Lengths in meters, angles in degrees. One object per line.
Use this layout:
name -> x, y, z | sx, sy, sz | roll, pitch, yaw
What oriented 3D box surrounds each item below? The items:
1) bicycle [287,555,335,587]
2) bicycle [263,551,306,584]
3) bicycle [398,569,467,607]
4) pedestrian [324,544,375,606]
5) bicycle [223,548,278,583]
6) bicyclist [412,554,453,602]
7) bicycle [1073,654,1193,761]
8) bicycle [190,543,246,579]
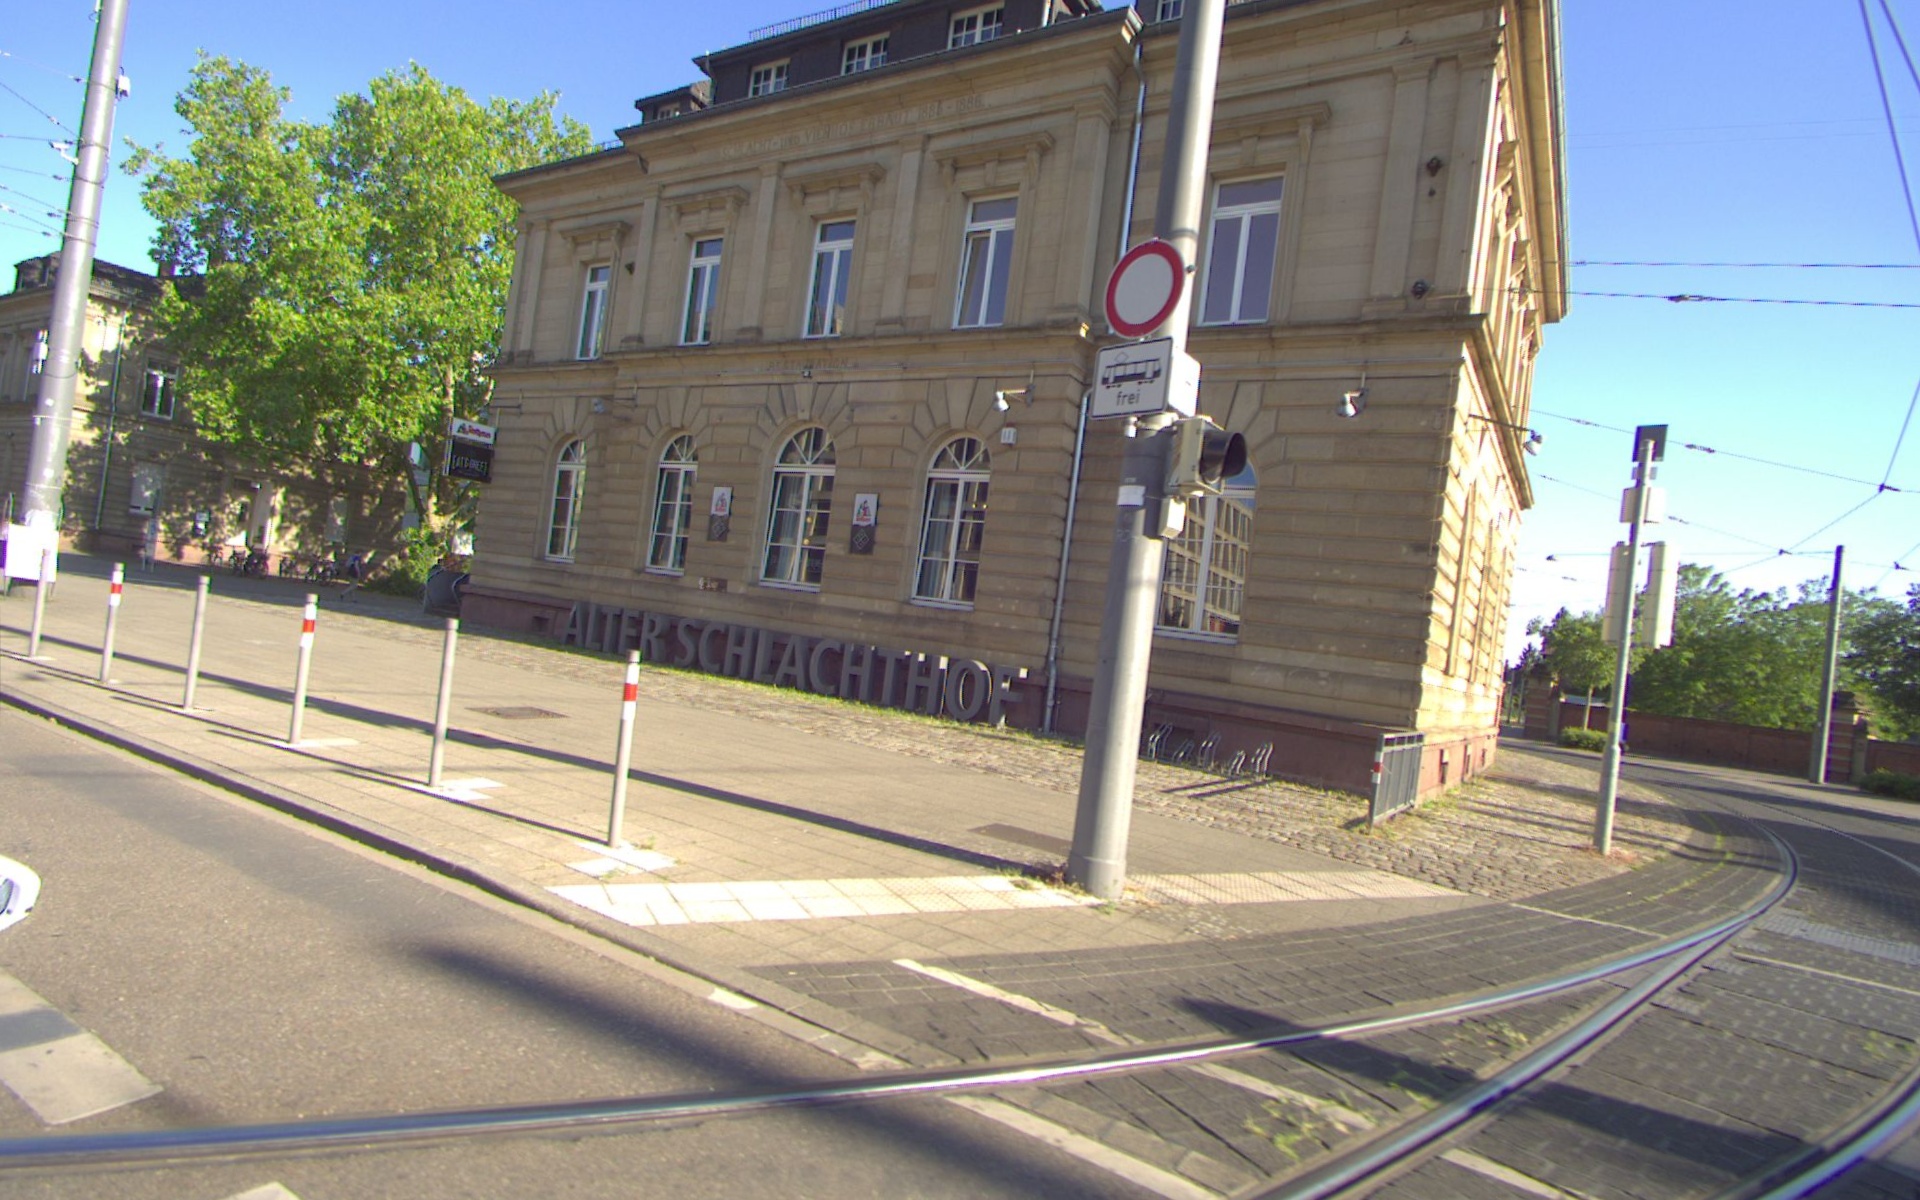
bicycle -> -26.174, -1.162, 40.559 | 2.192, 1.059, 0.527 | 6, -1, 29
bicycle -> -26.558, -1.280, 39.550 | 2.195, 1.059, 0.526 | 6, -1, 34
bicycle -> -20.911, -0.458, 39.942 | 0.811, 1.218, 2.361 | 7, -2, 20
pedestrian -> -20.397, -0.829, 33.622 | 0.811, 1.887, 0.983 | 7, -1, 20
bicycle -> -26.863, -1.311, 38.093 | 2.317, 1.059, 0.527 | 7, -1, 25
bicyclist -> -20.887, -0.861, 39.864 | 0.811, 1.732, 0.983 | 7, -1, 20
bicycle -> 2.351, 1.402, 13.399 | 0.752, 1.224, 2.140 | 7, -1, 31
bicycle -> -27.439, -1.445, 37.204 | 2.317, 1.059, 0.527 | 7, -1, 25
